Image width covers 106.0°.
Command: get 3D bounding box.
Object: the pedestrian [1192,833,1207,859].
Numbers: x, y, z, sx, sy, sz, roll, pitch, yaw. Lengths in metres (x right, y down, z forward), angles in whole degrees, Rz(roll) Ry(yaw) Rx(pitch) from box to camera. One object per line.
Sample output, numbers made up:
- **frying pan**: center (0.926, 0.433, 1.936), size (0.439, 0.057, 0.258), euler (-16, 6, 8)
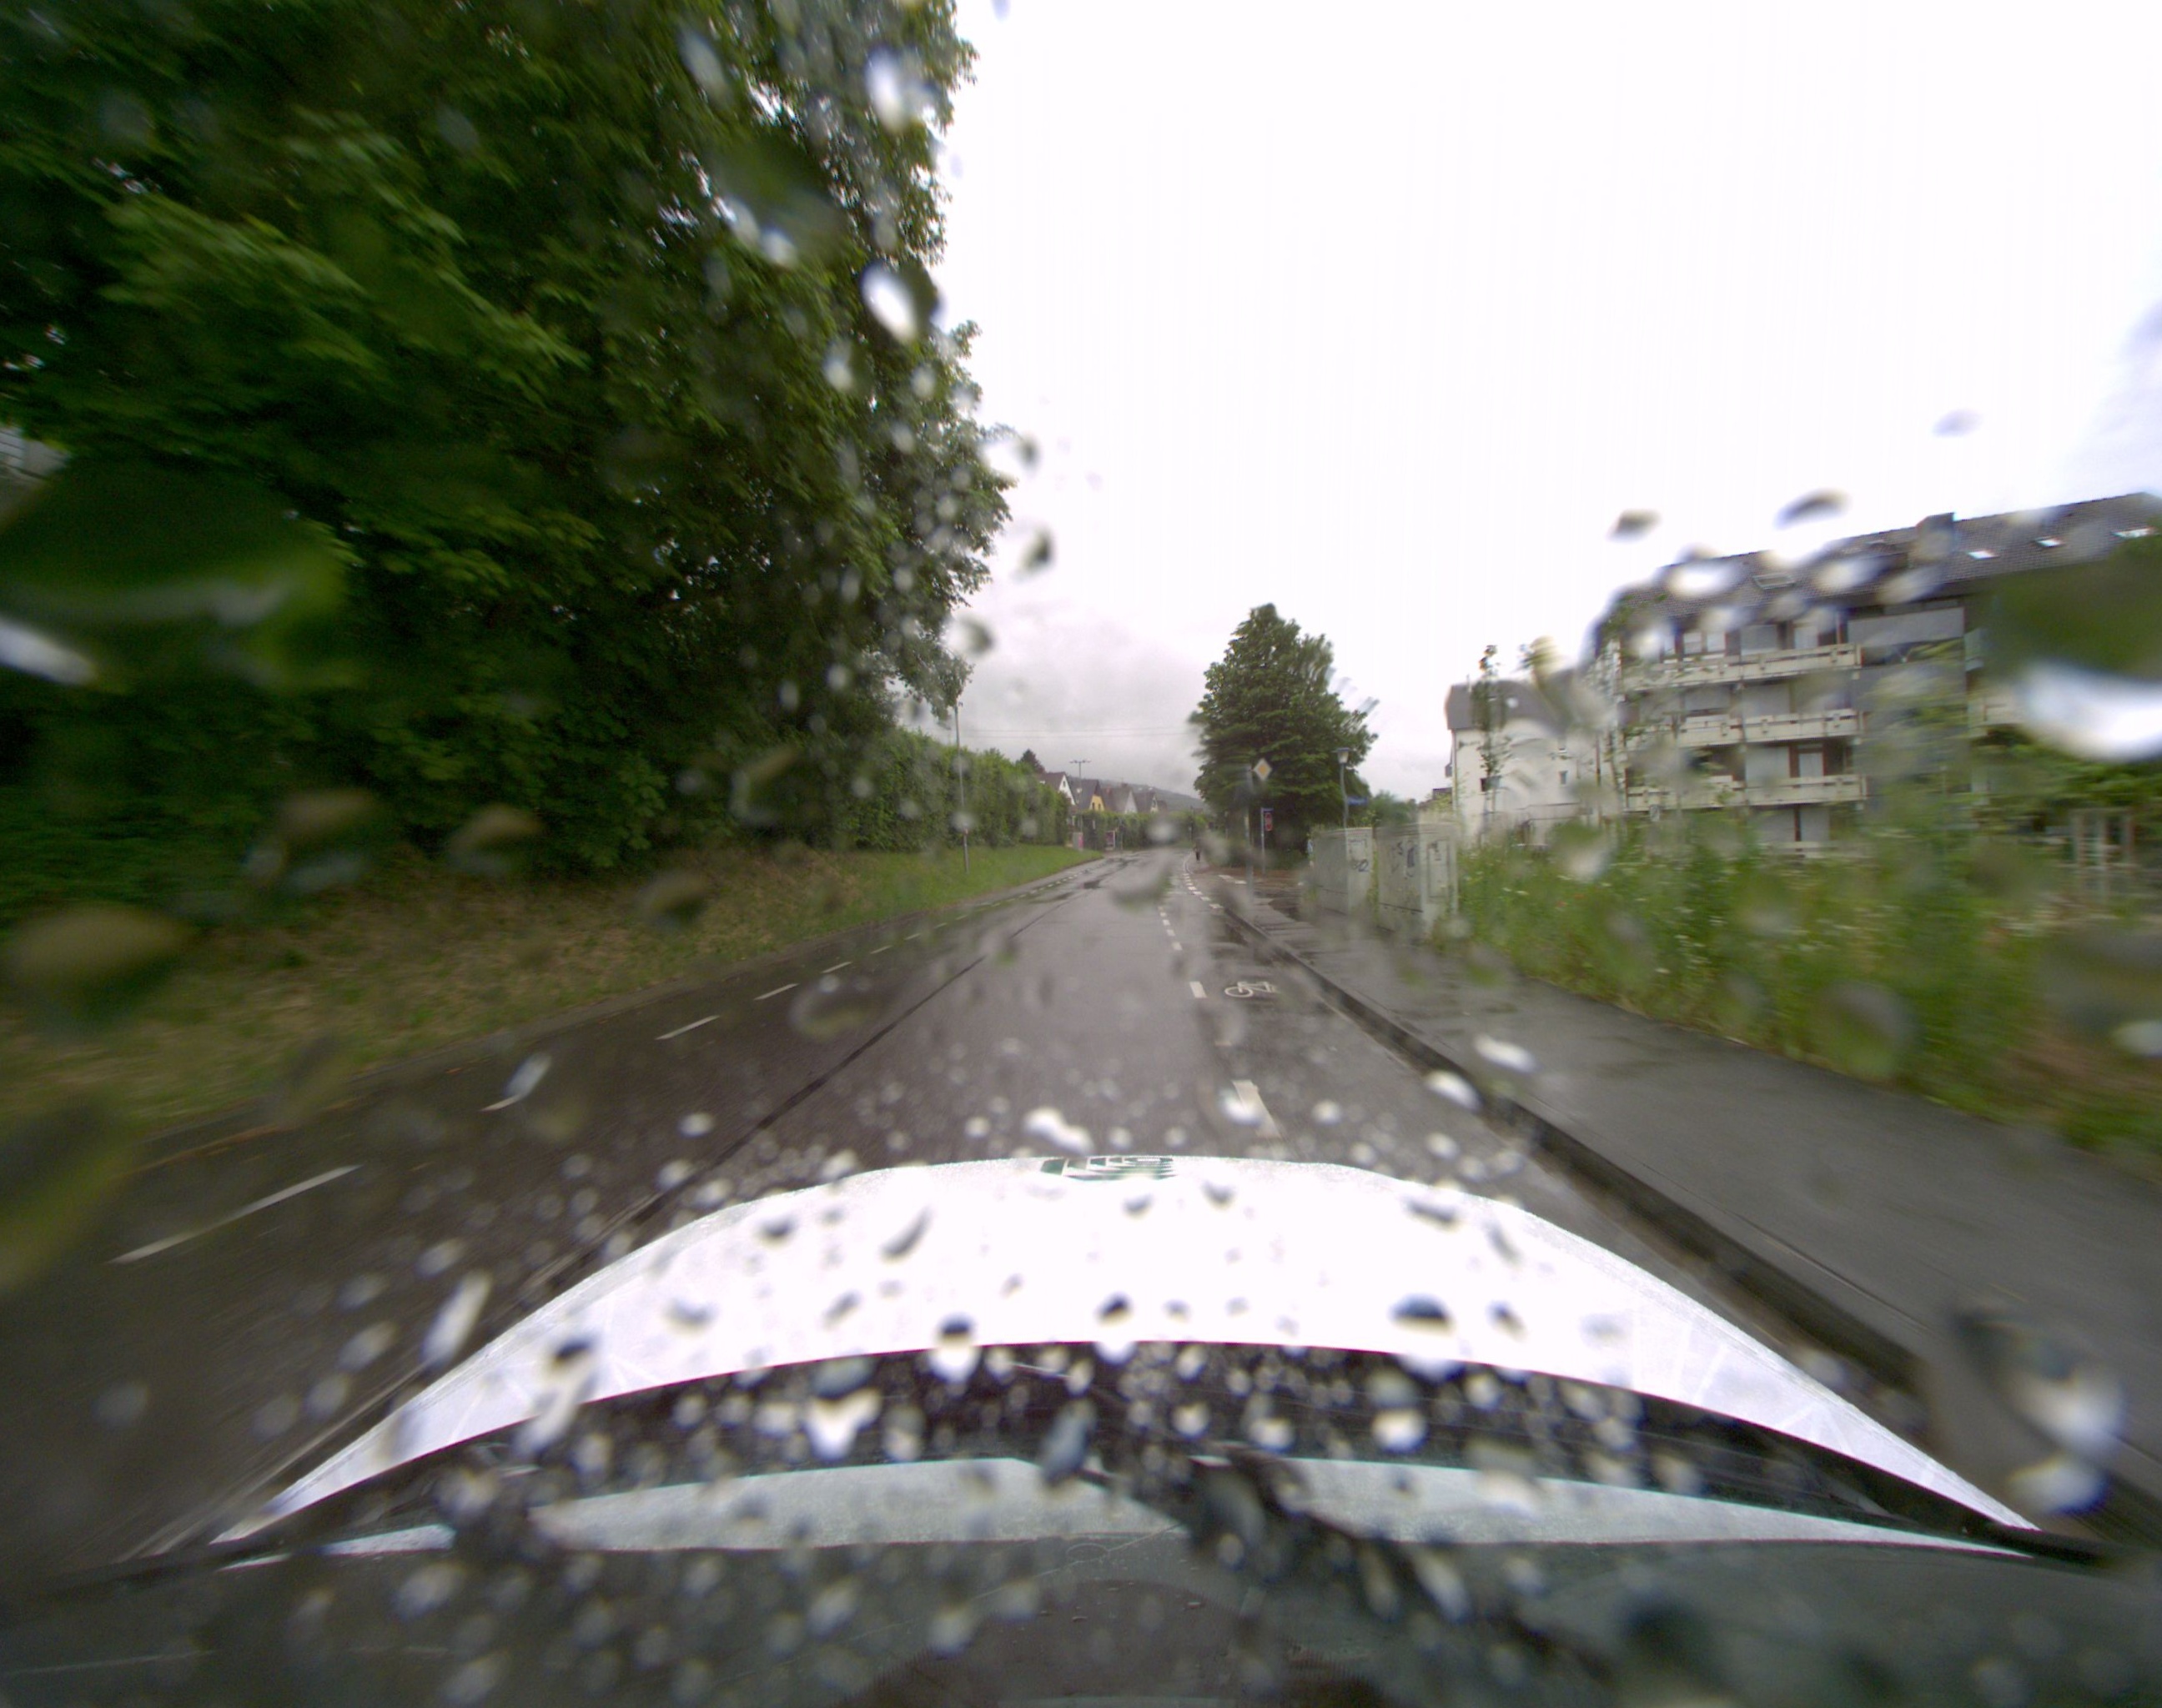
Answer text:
- **pedestrian**: center (7.980, -0.556, 55.014), size (0.915, 1.675, 1.059), euler (-3, 1, 7)
